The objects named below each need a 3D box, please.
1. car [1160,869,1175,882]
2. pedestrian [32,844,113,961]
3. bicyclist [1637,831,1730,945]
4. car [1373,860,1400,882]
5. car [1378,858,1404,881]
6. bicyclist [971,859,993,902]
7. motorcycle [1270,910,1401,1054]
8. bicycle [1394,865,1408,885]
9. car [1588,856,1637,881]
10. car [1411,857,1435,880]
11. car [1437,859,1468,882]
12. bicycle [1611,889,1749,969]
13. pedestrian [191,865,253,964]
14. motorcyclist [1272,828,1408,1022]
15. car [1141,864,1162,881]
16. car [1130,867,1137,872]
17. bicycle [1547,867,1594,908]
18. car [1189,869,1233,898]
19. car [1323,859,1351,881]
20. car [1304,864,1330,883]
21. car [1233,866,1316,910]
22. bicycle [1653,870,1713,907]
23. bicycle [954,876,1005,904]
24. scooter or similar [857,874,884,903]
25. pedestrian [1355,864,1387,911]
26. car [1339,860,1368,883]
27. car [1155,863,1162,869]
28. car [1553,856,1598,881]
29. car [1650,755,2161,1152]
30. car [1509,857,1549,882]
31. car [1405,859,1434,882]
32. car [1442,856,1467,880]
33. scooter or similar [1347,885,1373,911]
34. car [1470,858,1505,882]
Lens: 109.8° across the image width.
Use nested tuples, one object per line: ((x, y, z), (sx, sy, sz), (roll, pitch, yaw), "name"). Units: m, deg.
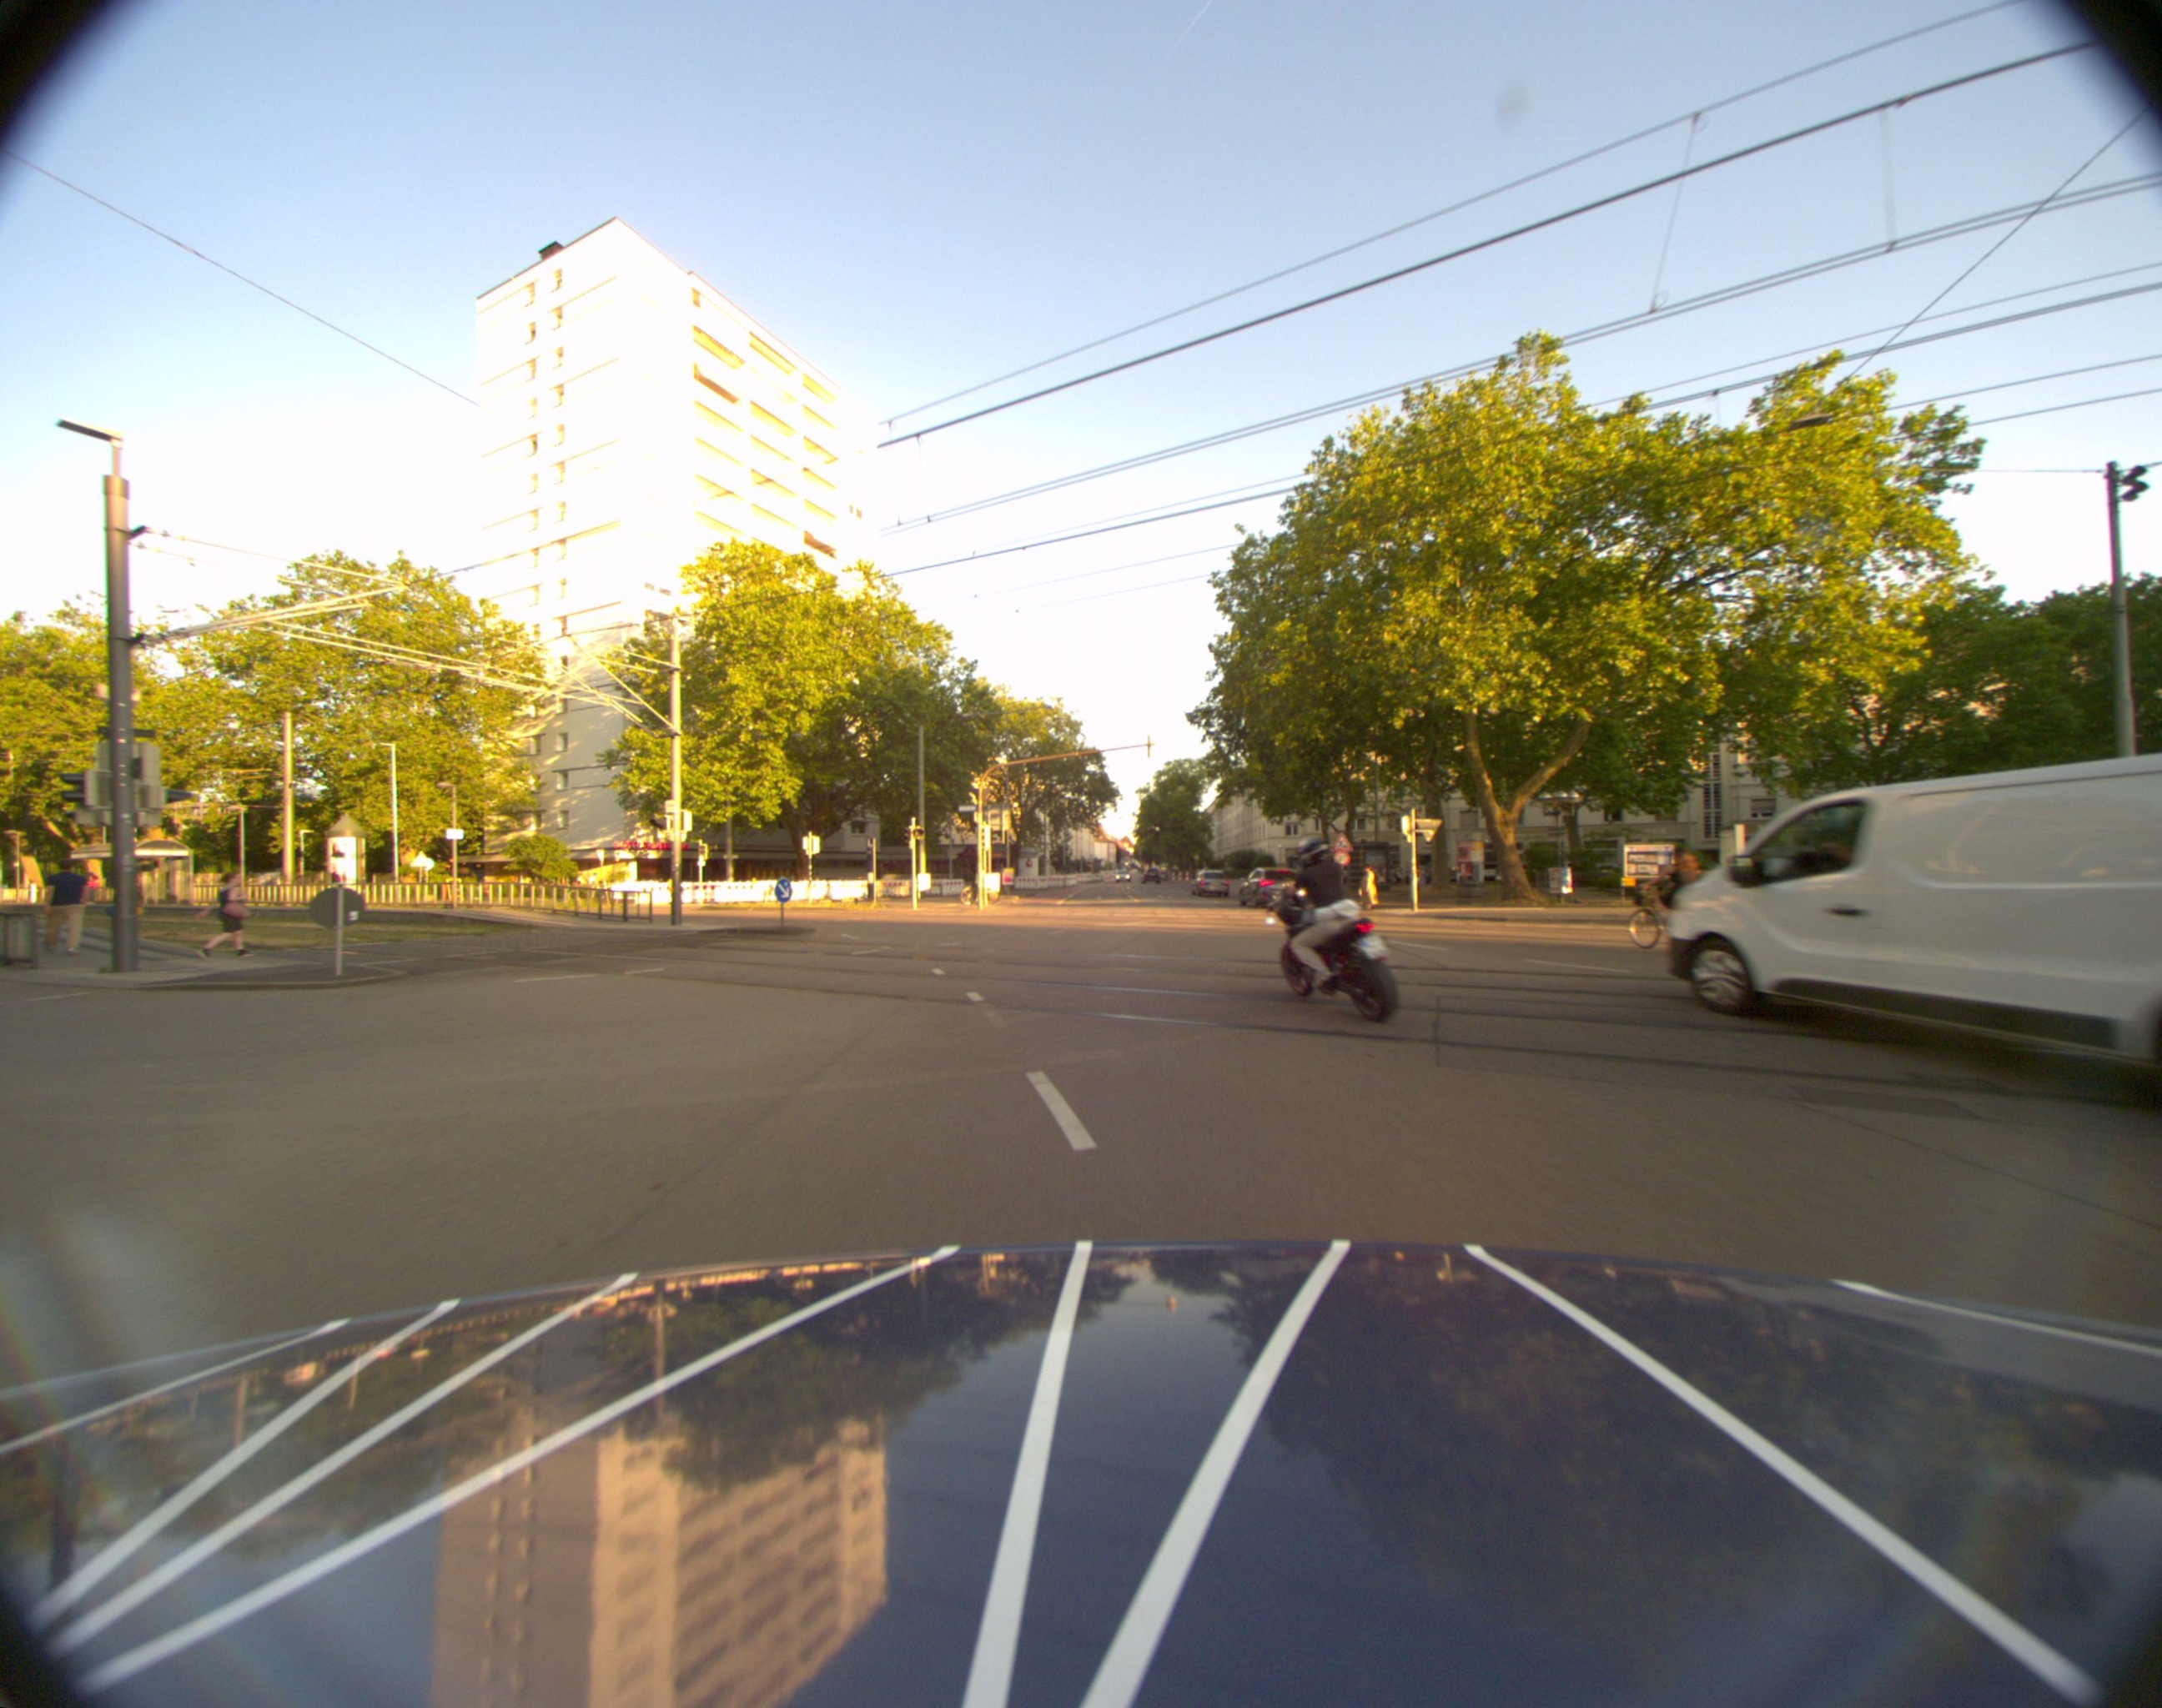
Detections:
((11.798, 2.886, 103.850), (1.892, 1.591, 4.002), (-2, 0, 7), "car")
((-19.683, 0.918, 14.836), (0.868, 2.196, 0.822), (-2, 0, 31), "pedestrian")
((9.113, 0.500, 11.529), (0.600, 1.635, 0.963), (-2, 0, 1), "bicyclist")
((24.876, 1.409, 61.756), (1.995, 1.770, 4.650), (0, -2, 23), "car")
((29.089, 1.401, 71.197), (1.995, 1.944, 4.648), (0, 1, 25), "car")
((-4.275, 1.146, 32.918), (0.700, 1.813, 0.627), (-2, 0, -30), "bicyclist")
((2.347, 1.128, 7.250), (0.600, 1.037, 1.946), (-2, 0, 1), "motorcycle")
((24.077, 1.554, 57.105), (0.690, 1.375, 2.750), (-2, 0, 27), "bicycle")
((38.880, 1.094, 55.730), (1.995, 1.770, 4.650), (0, -2, 23), "car")
((31.553, 1.311, 70.037), (1.995, 1.944, 4.648), (0, 1, 25), "car")
((29.085, 1.314, 59.596), (1.995, 1.770, 4.650), (0, -2, 23), "car")
((9.186, 1.111, 11.761), (0.600, 1.037, 1.946), (-2, 0, 1), "bicycle")
((-15.894, 1.110, 14.061), (0.787, 1.768, 0.544), (-2, 0, 28), "pedestrian")
((2.334, 0.613, 6.974), (0.877, 1.635, 0.963), (-2, 0, 1), "motorcyclist")
((7.923, 2.075, 85.745), (1.998, 1.773, 4.799), (0, -1, 1), "car")
((17.725, 5.116, 255.436), (1.892, 1.591, 4.262), (-2, 0, 7), "car")
((16.951, 1.136, 26.362), (0.526, 1.318, 1.995), (-2, 0, 7), "bicycle")
((7.467, 1.656, 43.994), (1.998, 1.548, 4.771), (0, -1, 4), "car")
((24.633, 1.521, 72.965), (1.995, 1.944, 4.648), (0, 1, 25), "car")
((19.892, 1.658, 64.211), (1.996, 1.494, 4.648), (0, -2, 17), "car")
((6.872, 1.171, 27.417), (1.998, 1.468, 4.140), (0, -1, 1), "car")
((19.171, 1.083, 24.229), (0.459, 1.086, 1.799), (-2, 0, 0), "bicycle")
((-4.393, 1.526, 32.857), (2.075, 1.103, 0.627), (-2, 0, -30), "bicycle")
((-9.329, 1.528, 33.627), (1.231, 1.242, 0.516), (-2, 0, 42), "scooter or similar")
((10.463, 1.200, 27.412), (0.804, 1.618, 0.773), (-2, 0, -3), "pedestrian")
((22.427, 1.455, 62.458), (1.995, 1.770, 4.650), (0, -2, 23), "car")
((22.423, 3.381, 219.518), (1.892, 1.591, 4.262), (-2, 0, 7), "car")
((36.588, 1.096, 56.296), (1.995, 1.770, 4.650), (0, -2, 23), "car")
((6.462, 0.496, 4.870), (1.998, 2.002, 4.951), (-1, 0, 1), "car")
((33.772, 1.192, 57.387), (1.995, 1.770, 4.650), (0, -2, 23), "car")
((26.961, 1.376, 60.622), (1.995, 1.770, 4.650), (0, -2, 23), "car")
((33.796, 1.229, 68.854), (1.995, 1.944, 4.648), (0, 1, 25), "car")
((10.349, 1.635, 28.228), (0.593, 0.892, 0.851), (-2, 0, -3), "scooter or similar")
((31.251, 1.247, 58.508), (1.995, 1.770, 4.650), (0, -2, 23), "car")
